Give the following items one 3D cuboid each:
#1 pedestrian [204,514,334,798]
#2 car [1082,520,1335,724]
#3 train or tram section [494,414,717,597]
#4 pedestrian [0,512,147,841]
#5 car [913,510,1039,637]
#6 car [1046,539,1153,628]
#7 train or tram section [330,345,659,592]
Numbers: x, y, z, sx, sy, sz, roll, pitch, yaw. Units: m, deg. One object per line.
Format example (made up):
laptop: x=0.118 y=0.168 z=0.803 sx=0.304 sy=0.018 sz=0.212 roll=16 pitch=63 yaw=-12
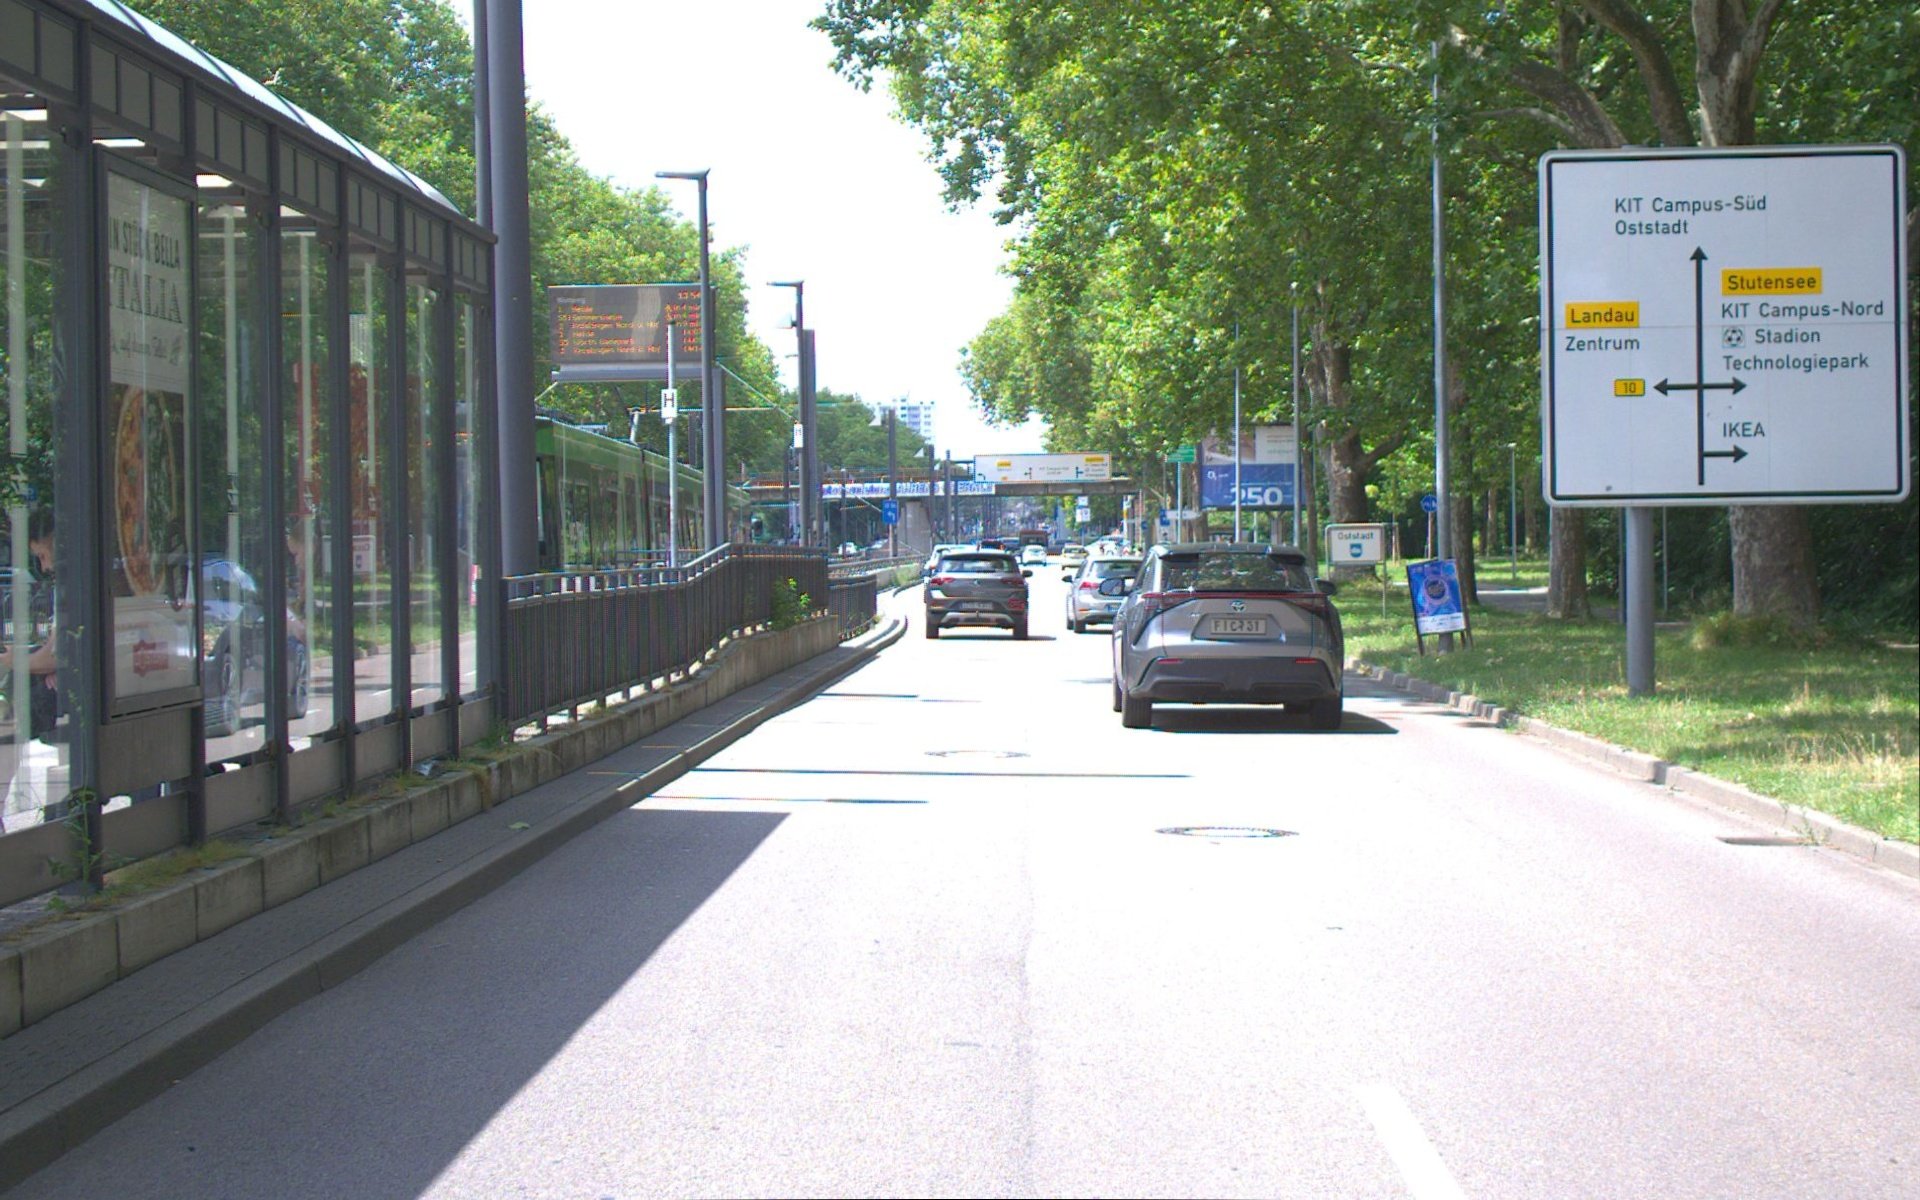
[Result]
pedestrian: x=-3.092 y=0.242 z=15.402 sx=0.497 sy=1.248 sz=0.469 roll=0 pitch=2 yaw=-2
car: x=2.113 y=0.178 z=30.392 sx=1.898 sy=1.669 sz=4.520 roll=0 pitch=0 yaw=0
train or tram section: x=-6.551 y=-1.737 z=65.009 sx=3.037 sy=3.175 sz=9.447 roll=0 pitch=1 yaw=1
pedestrian: x=-3.539 y=0.275 z=12.949 sx=0.786 sy=1.205 sz=0.700 roll=0 pitch=1 yaw=-1
car: x=0.314 y=-0.504 z=59.965 sx=1.994 sy=1.982 sz=4.363 roll=1 pitch=3 yaw=2
car: x=2.603 y=-0.320 z=64.951 sx=1.831 sy=1.624 sz=4.296 roll=0 pitch=1 yaw=0
train or tram section: x=-6.661 y=-1.832 z=51.728 sx=3.037 sy=3.175 sz=14.102 roll=0 pitch=1 yaw=0
